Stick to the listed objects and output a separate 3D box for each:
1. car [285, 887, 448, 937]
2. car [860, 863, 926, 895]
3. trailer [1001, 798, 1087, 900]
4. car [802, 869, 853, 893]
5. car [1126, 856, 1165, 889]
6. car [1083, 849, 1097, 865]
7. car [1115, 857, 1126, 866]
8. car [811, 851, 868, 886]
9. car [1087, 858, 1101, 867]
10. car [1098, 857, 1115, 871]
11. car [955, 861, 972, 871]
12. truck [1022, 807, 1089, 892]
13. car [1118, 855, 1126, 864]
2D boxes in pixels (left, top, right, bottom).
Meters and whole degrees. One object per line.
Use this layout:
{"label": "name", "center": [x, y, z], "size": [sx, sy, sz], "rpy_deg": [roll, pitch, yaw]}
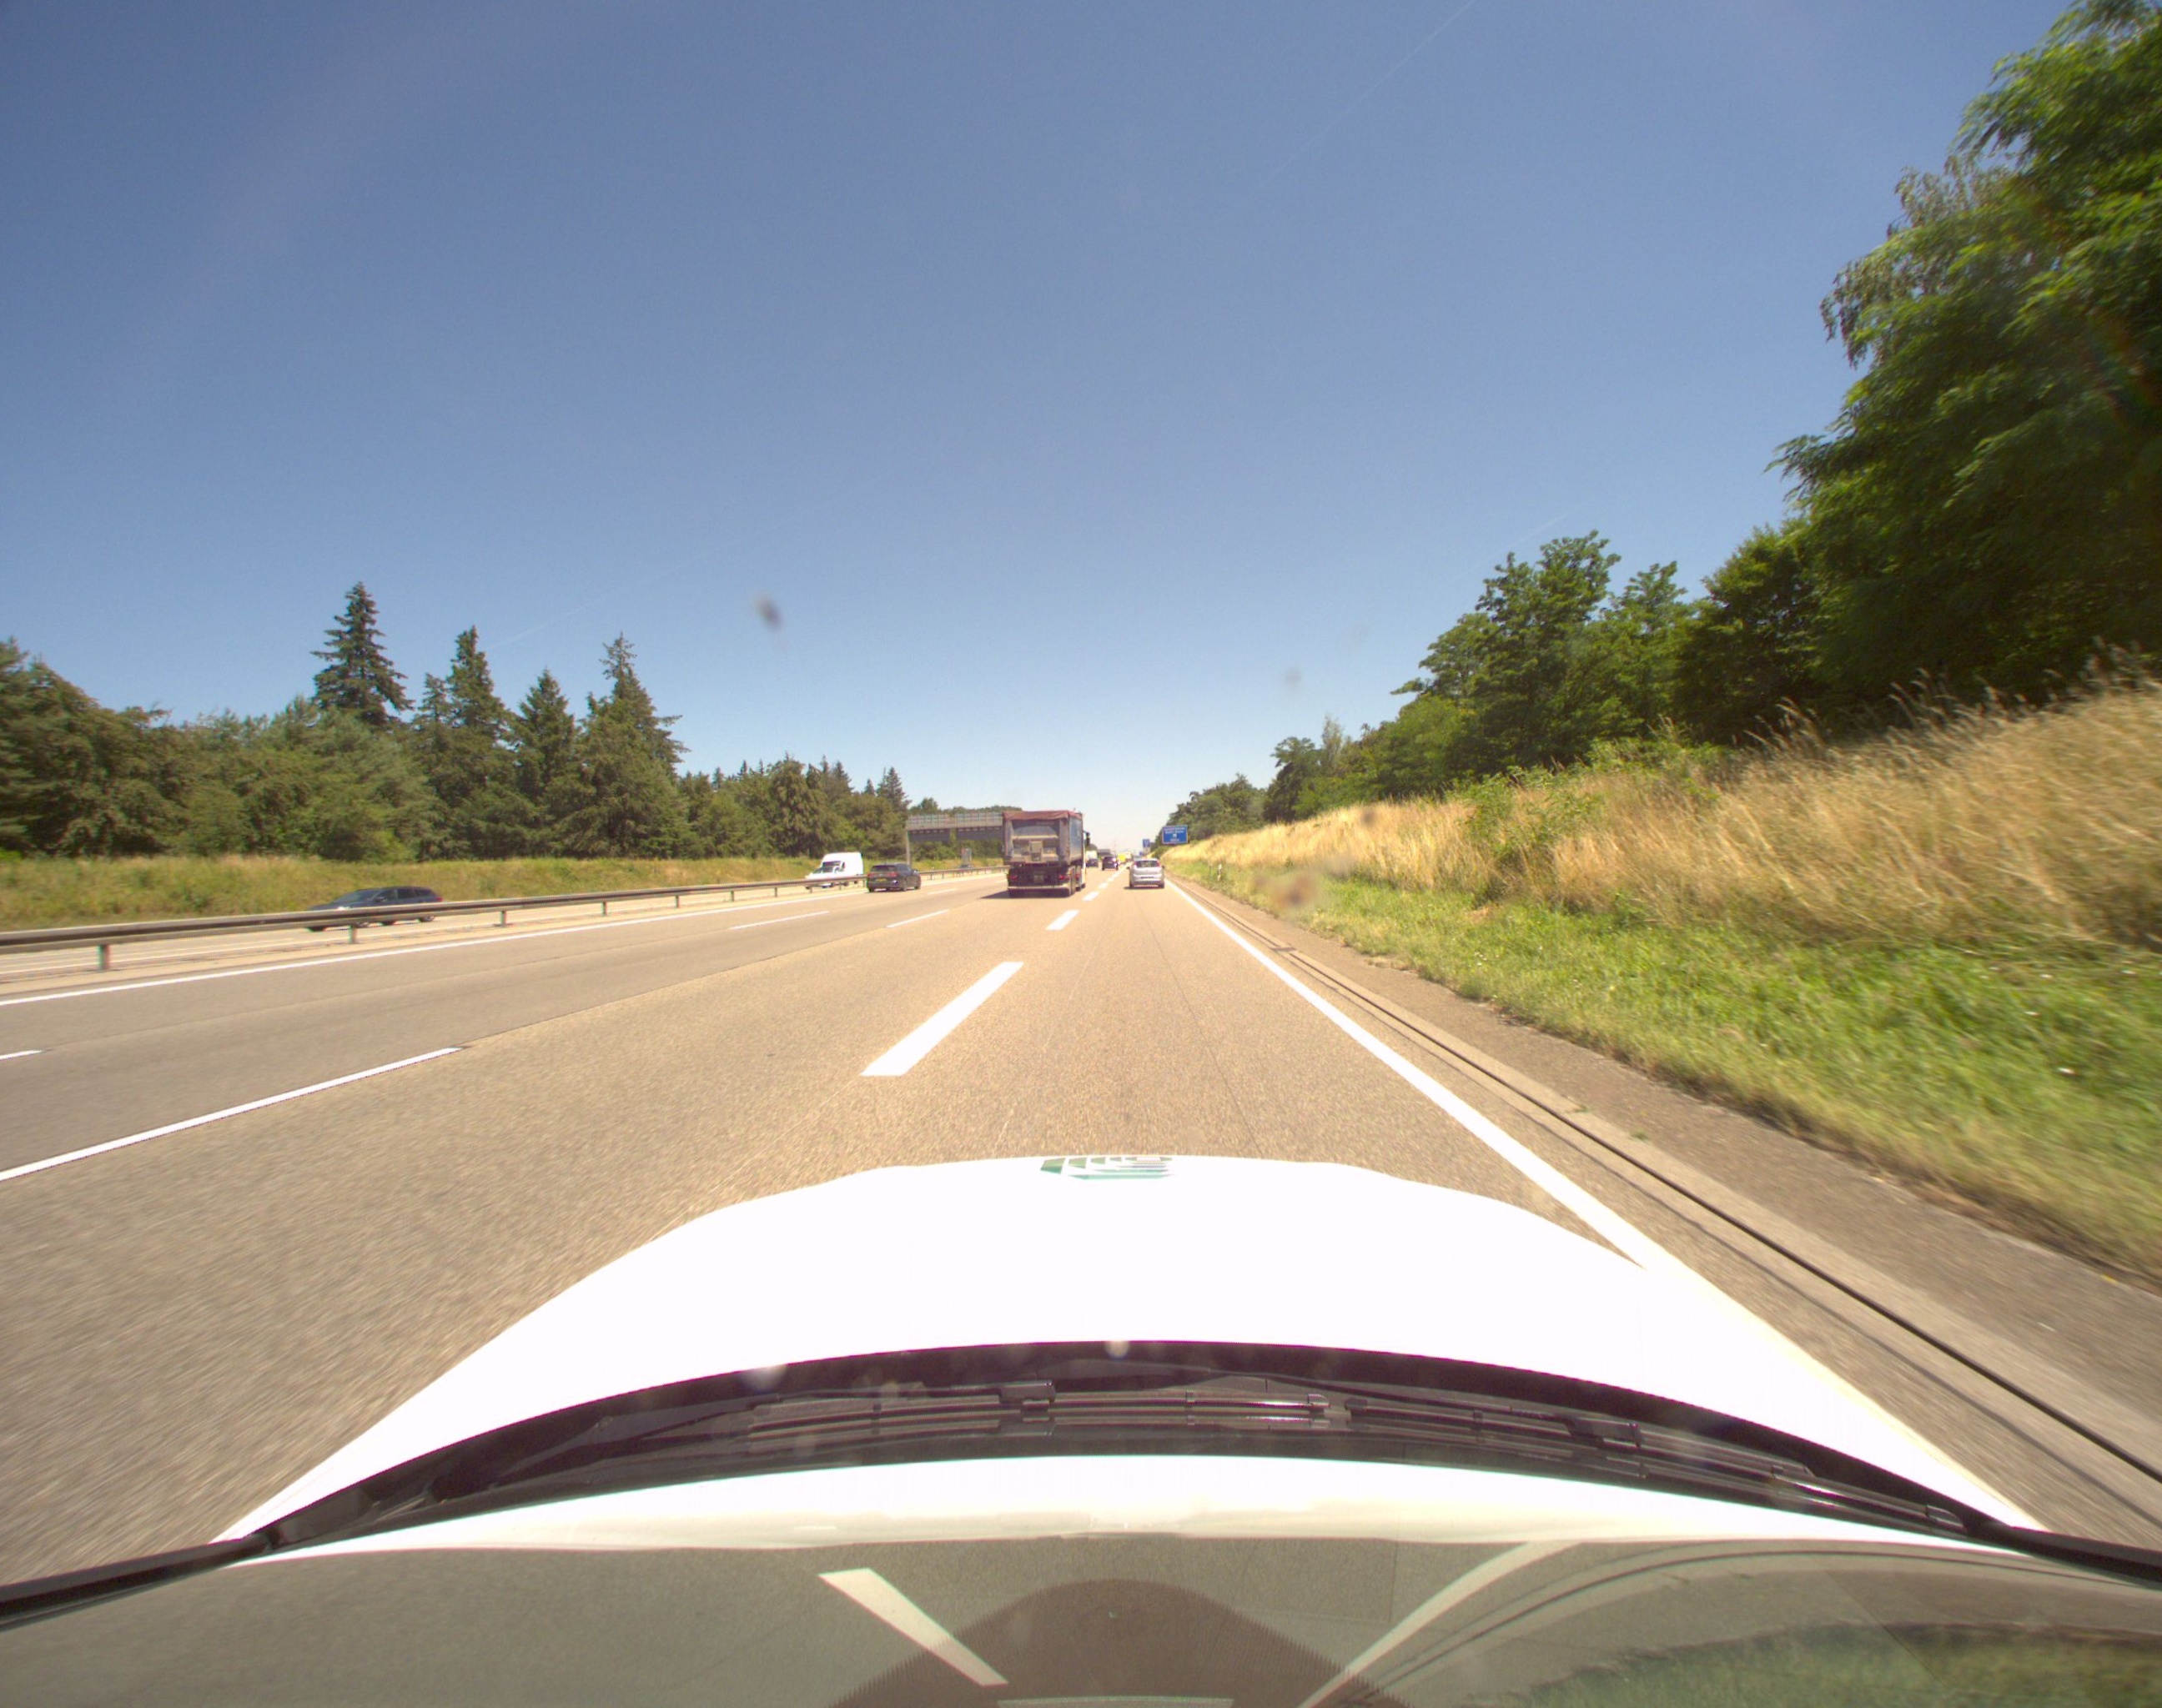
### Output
{"label": "car", "center": [-26.390, 2.094, 30.347], "size": [1.684, 1.391, 4.680], "rpy_deg": [-4, 0, 4]}
{"label": "car", "center": [-9.416, 1.192, 41.143], "size": [1.824, 1.431, 5.005], "rpy_deg": [-1, 0, 4]}
{"label": "trailer", "center": [-1.353, -0.205, 34.868], "size": [2.725, 3.758, 9.116], "rpy_deg": [-2, 0, 3]}
{"label": "car", "center": [-17.269, 1.815, 55.636], "size": [1.684, 1.391, 4.680], "rpy_deg": [-4, 0, 4]}
{"label": "car", "center": [3.100, 0.883, 39.873], "size": [1.713, 1.491, 3.739], "rpy_deg": [-1, 0, 2]}
{"label": "car", "center": [1.716, 0.537, 147.962], "size": [2.250, 2.950, 6.118], "rpy_deg": [-1, 0, 3]}
{"label": "car", "center": [7.154, 1.394, 148.184], "size": [1.812, 1.492, 3.743], "rpy_deg": [-1, -1, 6]}
{"label": "car", "center": [-20.554, 1.206, 69.738], "size": [2.333, 2.711, 6.880], "rpy_deg": [-4, 0, 4]}
{"label": "car", "center": [2.052, 1.324, 129.651], "size": [1.885, 1.469, 4.267], "rpy_deg": [-1, 0, 5]}
{"label": "car", "center": [3.103, 1.201, 96.887], "size": [1.823, 1.672, 4.005], "rpy_deg": [0, 0, 4]}
{"label": "car", "center": [-19.517, 2.008, 135.282], "size": [1.819, 1.509, 4.747], "rpy_deg": [-2, 0, 3]}
{"label": "truck", "center": [-1.117, -0.218, 39.532], "size": [2.673, 3.758, 5.948], "rpy_deg": [-2, 0, 3]}
{"label": "car", "center": [9.087, 1.176, 179.583], "size": [1.605, 2.013, 4.003], "rpy_deg": [-1, 0, 3]}
